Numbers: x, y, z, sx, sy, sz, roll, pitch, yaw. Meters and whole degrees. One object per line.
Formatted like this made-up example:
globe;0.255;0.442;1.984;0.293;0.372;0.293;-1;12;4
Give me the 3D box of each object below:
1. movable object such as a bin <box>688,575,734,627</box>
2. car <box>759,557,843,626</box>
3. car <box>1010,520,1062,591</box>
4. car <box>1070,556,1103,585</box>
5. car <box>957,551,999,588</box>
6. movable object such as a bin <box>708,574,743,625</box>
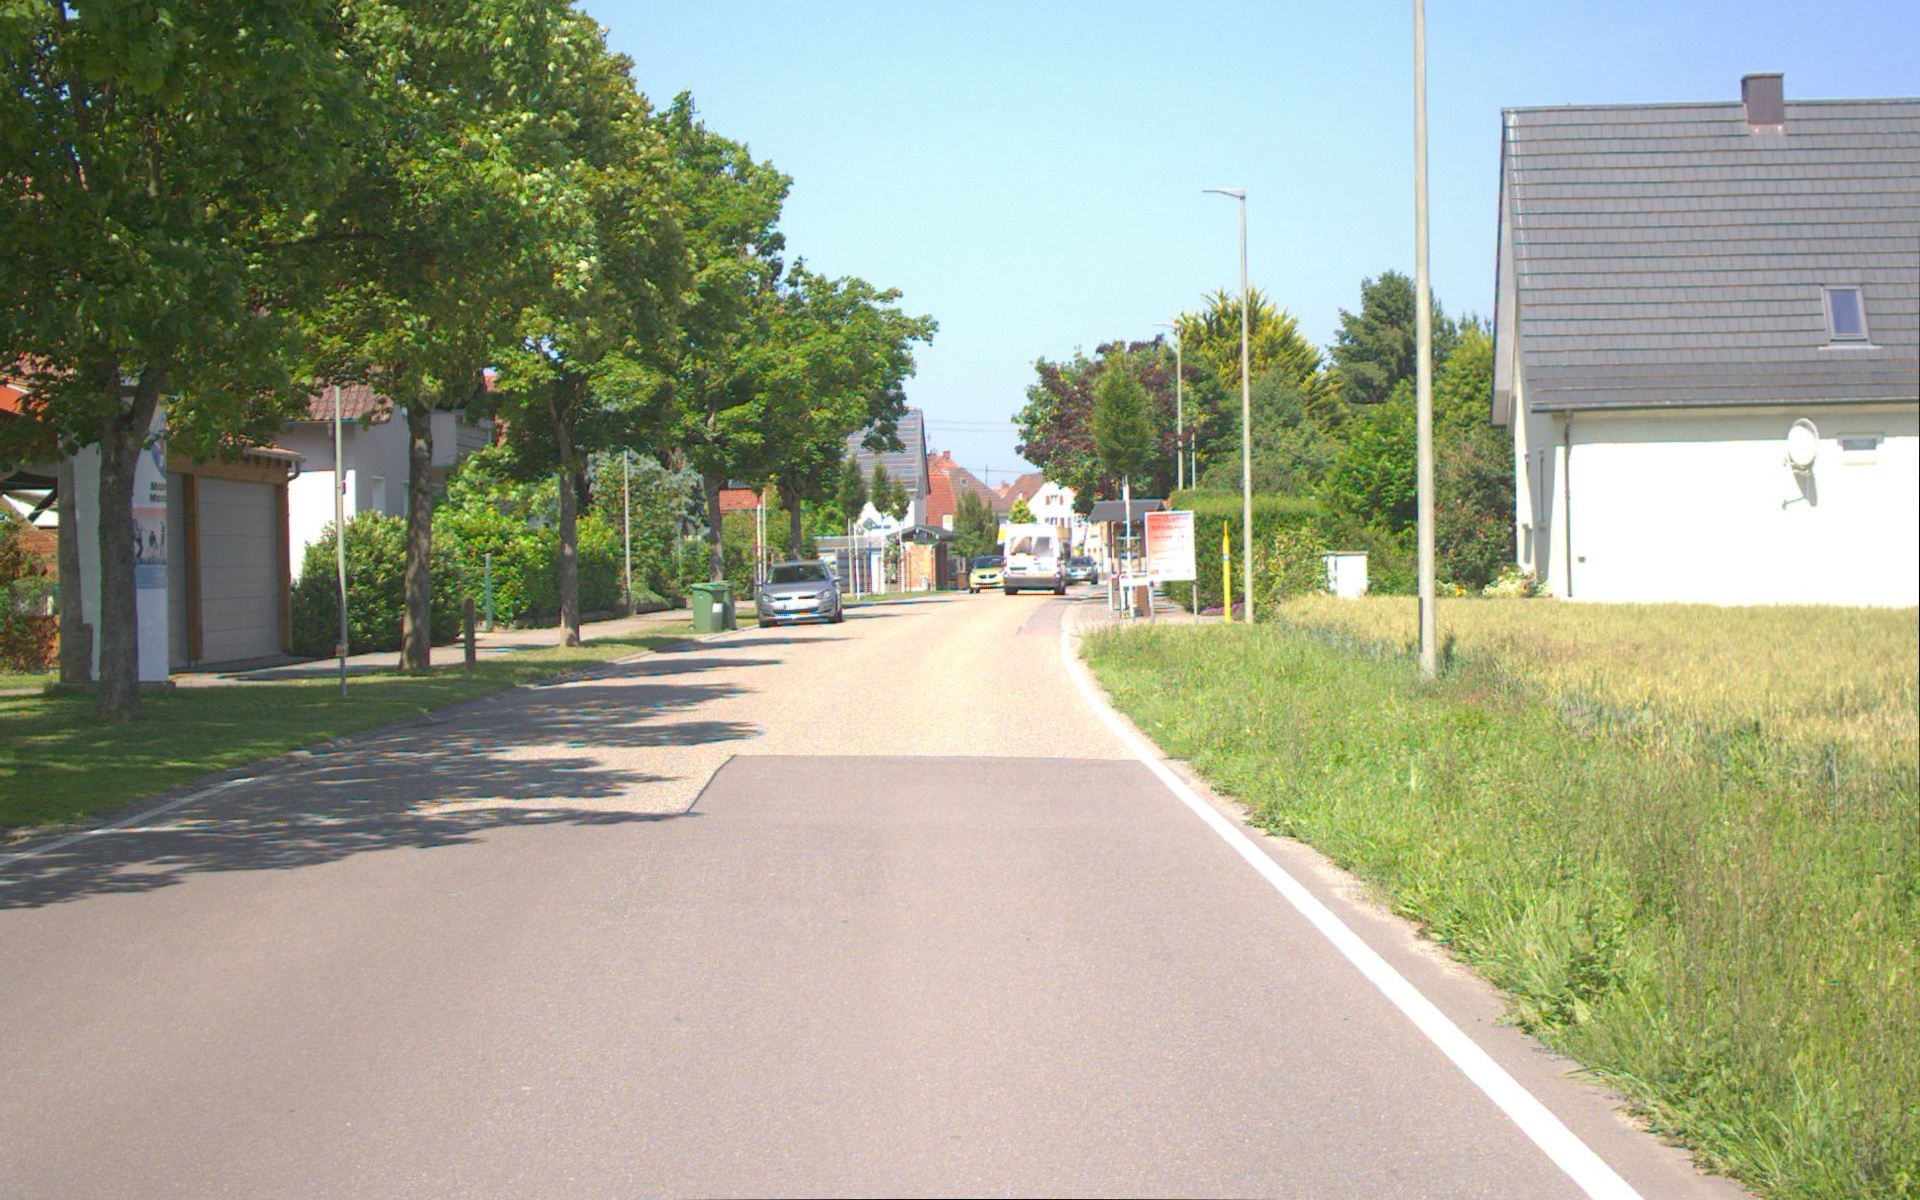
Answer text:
movable object such as a bin;-5.251;0.022;72.540;0.714;1.075;0.639;-1;0;27
car;-3.569;-0.210;77.889;1.647;1.419;4.080;-3;1;0
car;2.721;-1.586;122.339;1.738;2.424;4.374;-2;1;2
car;7.833;-1.832;212.674;1.835;1.747;3.796;-1;1;0
car;0.753;-1.320;149.063;1.666;1.519;3.443;-2;1;-1
movable object such as a bin;-4.989;-0.015;73.174;0.575;1.075;0.598;-1;0;15
